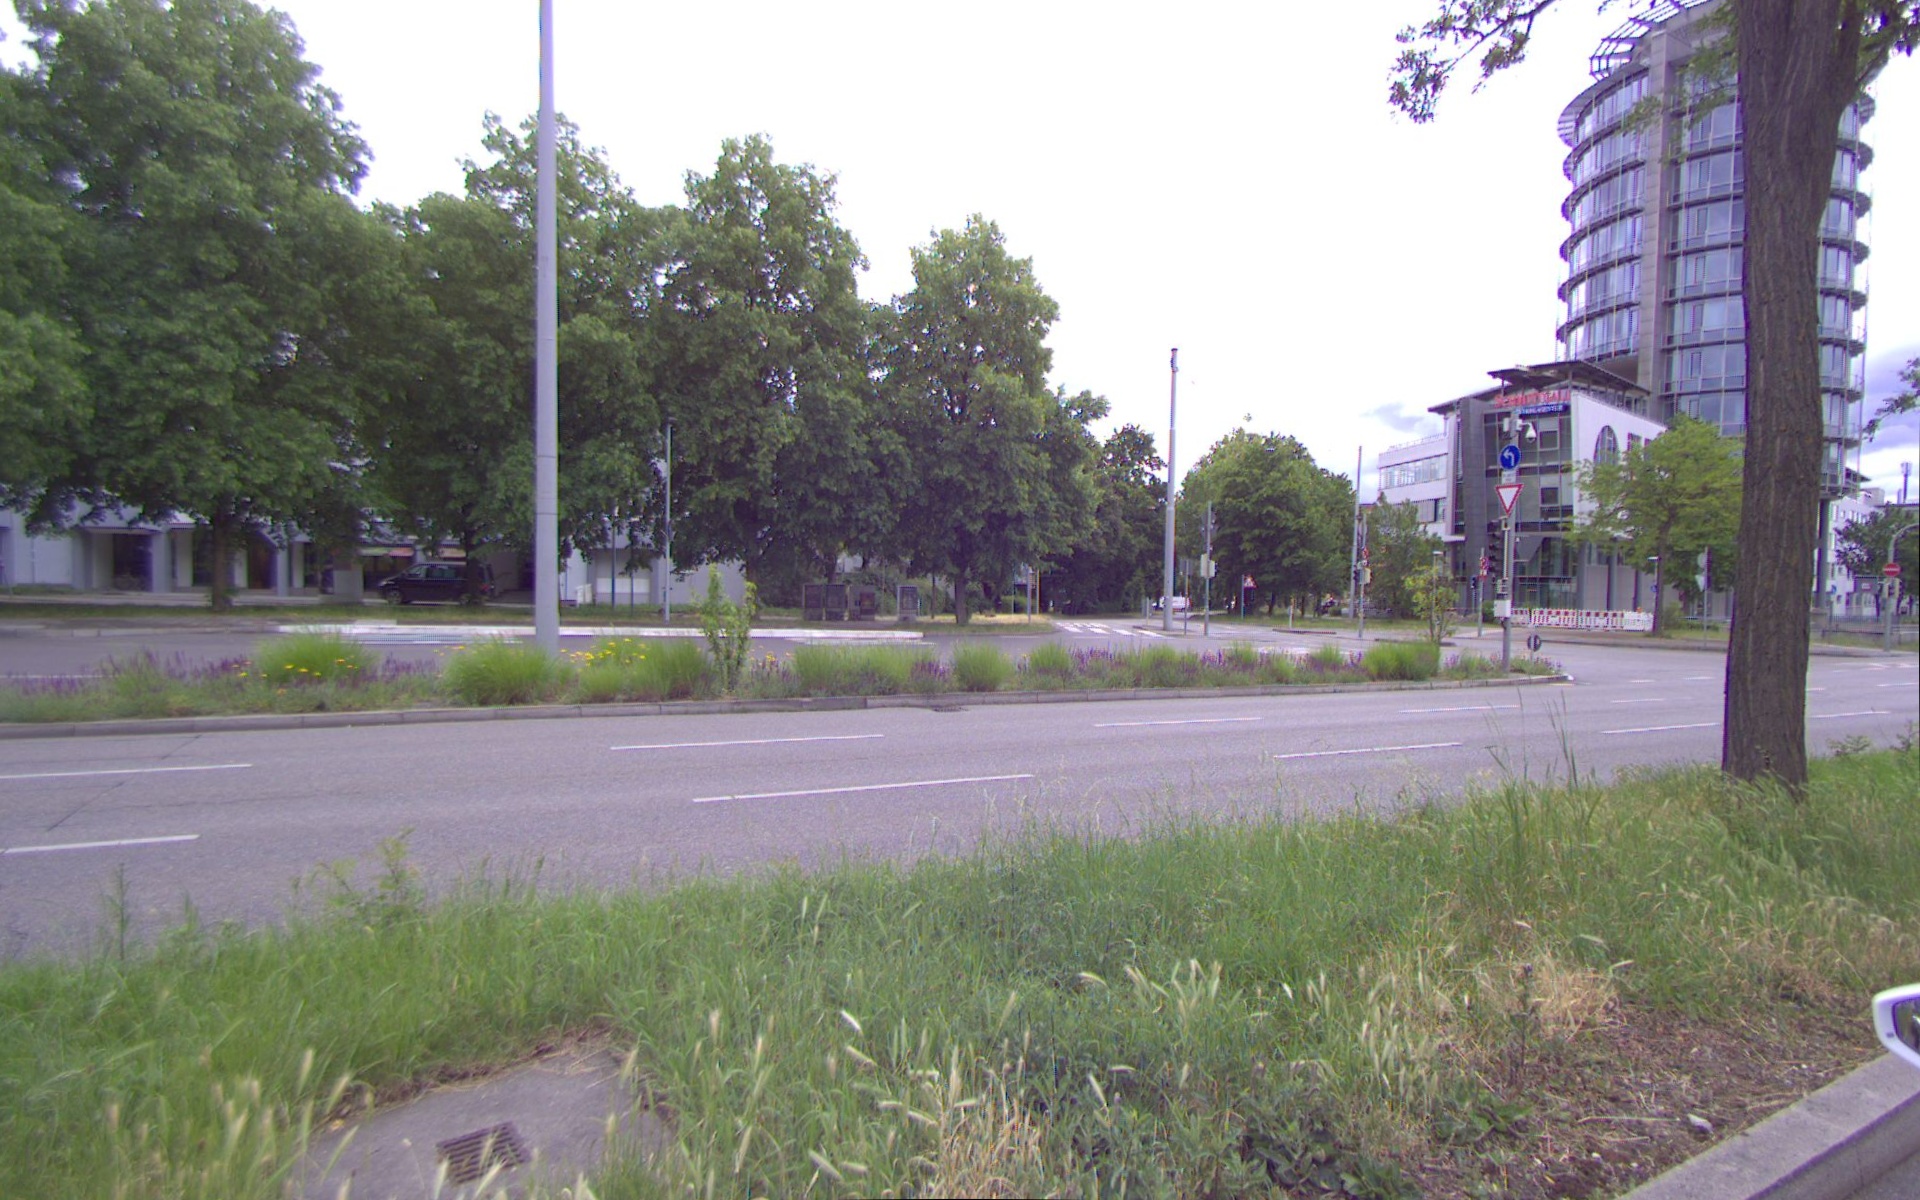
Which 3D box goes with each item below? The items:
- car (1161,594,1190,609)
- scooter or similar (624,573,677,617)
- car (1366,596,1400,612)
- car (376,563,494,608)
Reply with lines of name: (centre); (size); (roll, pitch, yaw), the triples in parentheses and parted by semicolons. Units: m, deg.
car: (37.690, 0.275, 175.612); (4.475, 2.370, 1.994); (2, 0, -16)
scooter or similar: (-11.935, -0.188, 38.798); (1.835, 1.686, 0.645); (1, 1, -43)
car: (24.980, 0.242, 59.334); (1.684, 0.888, 0.776); (1, 0, 7)
car: (-23.380, -0.645, 44.899); (4.345, 1.872, 1.781); (1, 1, -16)
